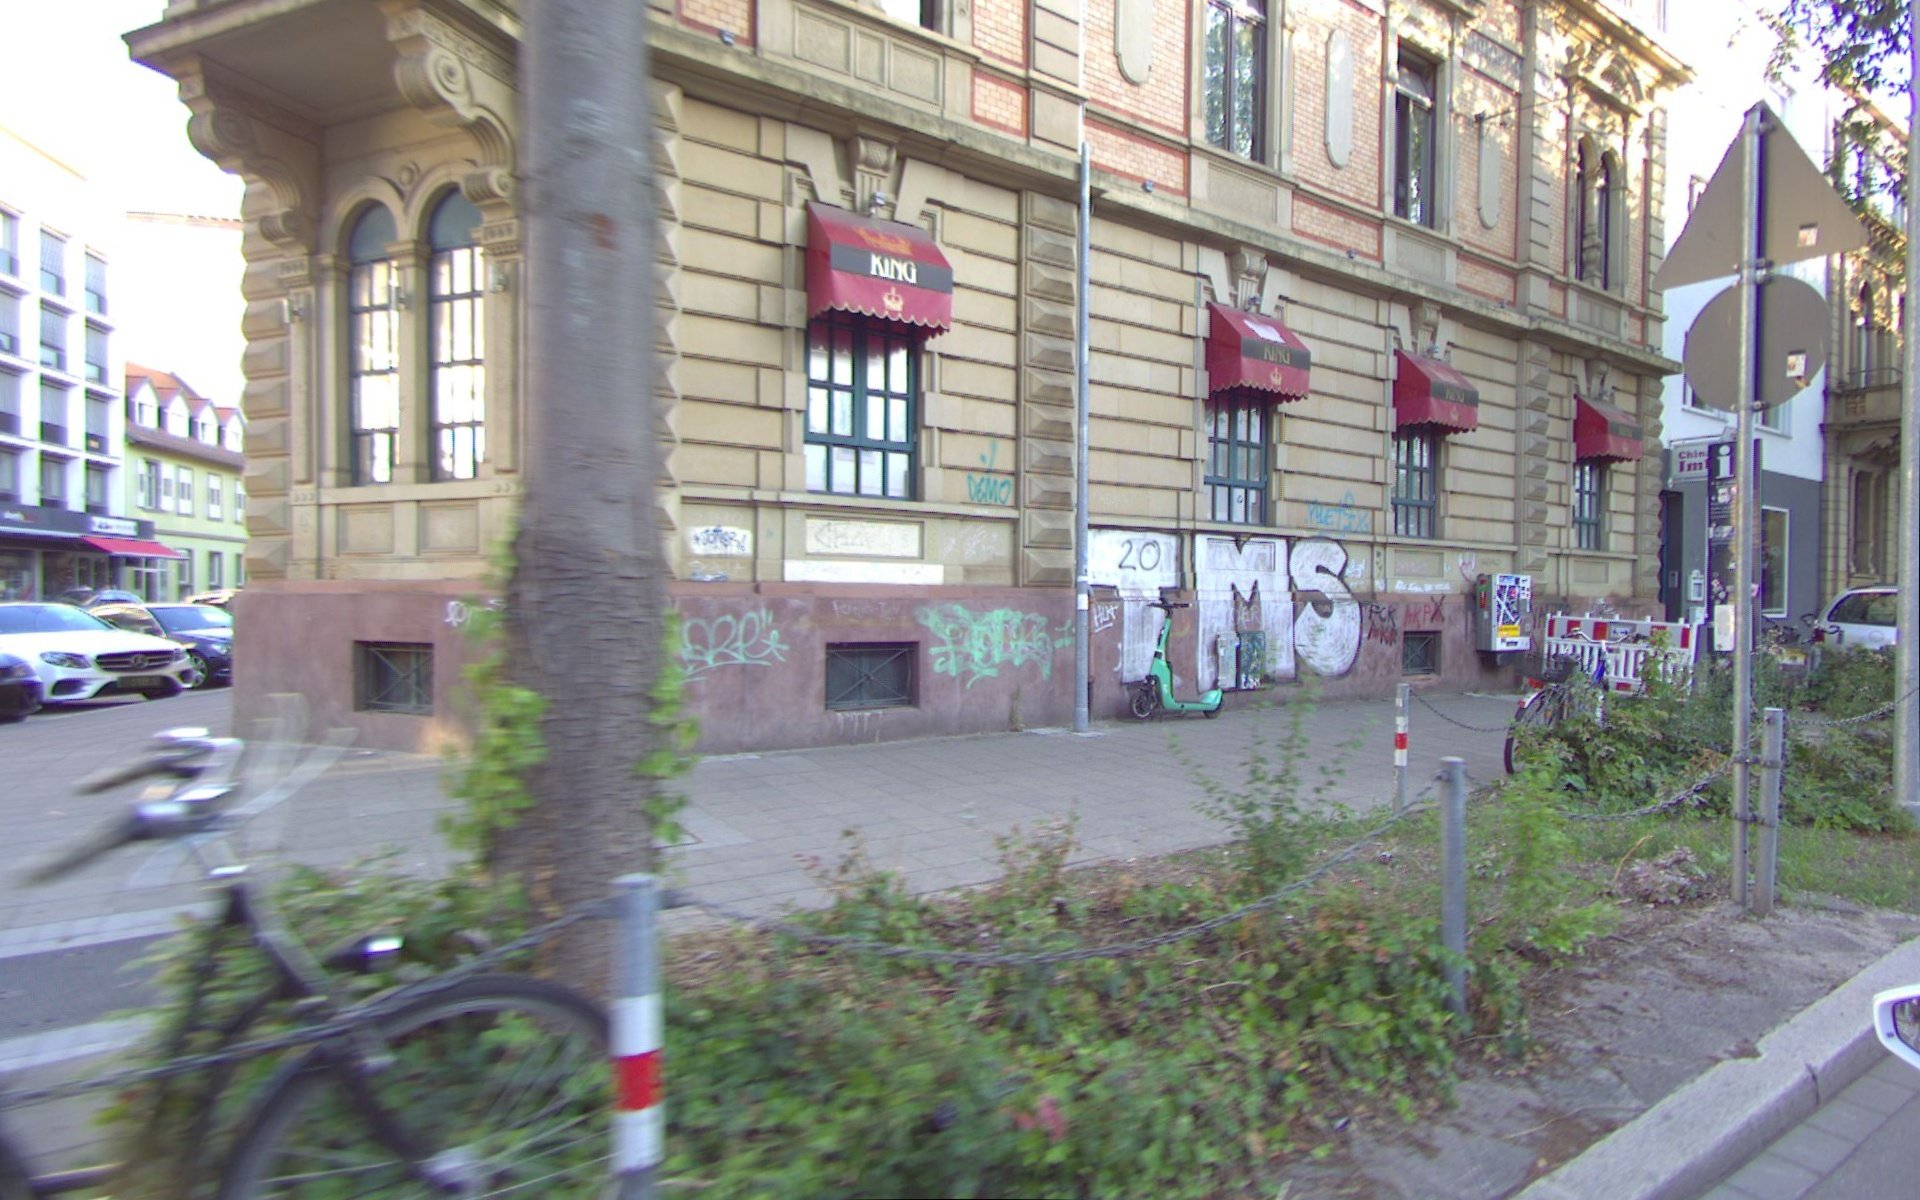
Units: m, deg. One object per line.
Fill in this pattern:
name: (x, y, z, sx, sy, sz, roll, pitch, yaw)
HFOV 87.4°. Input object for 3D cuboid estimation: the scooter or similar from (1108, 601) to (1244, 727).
scooter or similar: (2.161, 0.622, 10.043, 1.268, 1.184, 0.437, 1, 2, -22)

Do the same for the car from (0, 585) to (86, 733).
car: (-11.466, 0.678, 10.385, 3.785, 1.480, 1.742, -3, 0, 13)

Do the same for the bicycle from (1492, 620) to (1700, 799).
bicycle: (4.859, 0.762, 7.615, 2.079, 1.169, 0.507, 0, 2, -34)

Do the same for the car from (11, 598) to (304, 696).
car: (-13.587, 0.749, 17.066, 4.166, 1.467, 1.712, 1, -1, 14)

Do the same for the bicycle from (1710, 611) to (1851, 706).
bicycle: (11.493, 0.771, 14.036, 2.606, 1.202, 0.730, 0, 2, -33)

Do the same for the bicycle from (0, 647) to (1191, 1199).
bicycle: (-0.943, 0.750, 1.653, 2.532, 1.284, 0.842, 0, 0, -19)

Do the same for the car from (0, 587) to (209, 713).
car: (-12.792, 0.655, 13.659, 4.536, 1.532, 1.769, -1, 0, 17)

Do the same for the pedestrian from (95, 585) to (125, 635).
pedestrian: (-33.324, 0.386, 39.390, 0.602, 1.912, 0.717, 0, 0, -12)

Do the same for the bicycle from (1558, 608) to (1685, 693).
bicycle: (10.095, 0.731, 15.297, 2.535, 1.218, 0.633, 0, 0, -32)

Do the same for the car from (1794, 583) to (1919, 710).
car: (15.225, 0.690, 14.572, 1.815, 1.859, 4.517, 0, 0, -35)

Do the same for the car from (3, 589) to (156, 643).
car: (-29.658, 0.524, 34.031, 1.800, 1.681, 4.356, 1, 0, -9)
